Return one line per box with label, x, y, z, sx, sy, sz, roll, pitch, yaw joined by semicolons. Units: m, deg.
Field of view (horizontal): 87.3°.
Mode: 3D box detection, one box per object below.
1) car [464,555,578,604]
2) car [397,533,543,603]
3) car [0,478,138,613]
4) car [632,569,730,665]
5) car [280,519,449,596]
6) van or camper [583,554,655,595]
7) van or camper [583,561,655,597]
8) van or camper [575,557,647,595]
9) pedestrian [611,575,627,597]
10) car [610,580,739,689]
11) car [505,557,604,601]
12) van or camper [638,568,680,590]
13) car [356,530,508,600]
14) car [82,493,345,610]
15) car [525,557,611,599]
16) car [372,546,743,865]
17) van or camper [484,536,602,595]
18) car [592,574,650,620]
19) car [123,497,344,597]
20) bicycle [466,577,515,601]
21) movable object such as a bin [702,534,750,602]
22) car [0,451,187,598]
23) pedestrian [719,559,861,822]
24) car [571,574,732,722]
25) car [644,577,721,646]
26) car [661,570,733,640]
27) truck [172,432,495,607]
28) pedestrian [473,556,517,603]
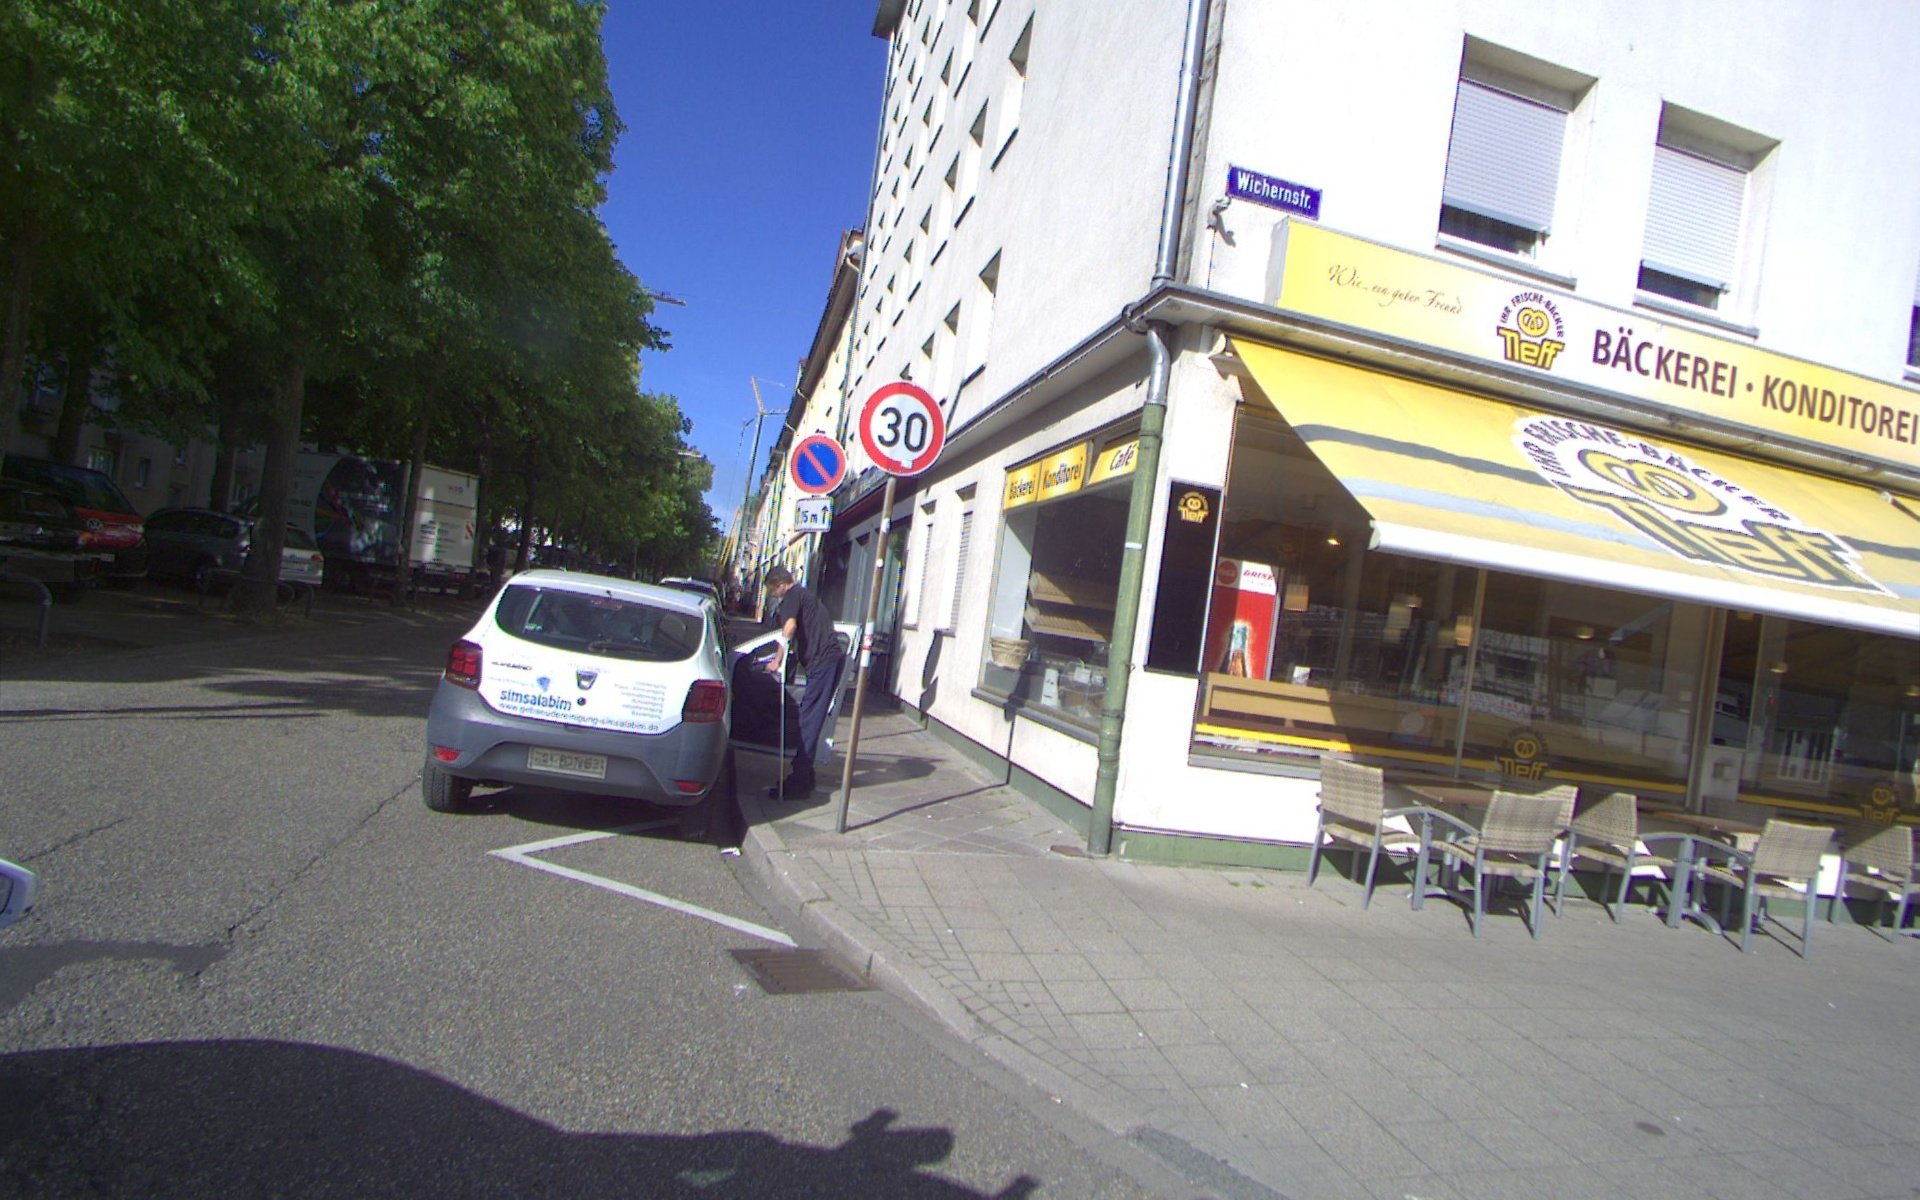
car;-19.357;-0.912;44.340;4.405;1.472;1.789;8;-1;18
car;-18.490;-1.187;38.068;4.438;1.886;2.083;9;-1;11
car;-12.820;-0.881;12.743;3.751;1.498;1.763;8;-1;15
car;-6.400;0.327;23.185;1.741;1.774;4.496;8;-1;-15
car;-16.948;-1.207;28.670;3.925;1.520;1.850;8;-1;18
van or camper;-35.909;-2.672;105.928;6.551;3.280;2.497;8;0;15
van or camper;-30.321;-1.855;89.494;5.411;2.303;2.222;8;0;10
van or camper;-32.390;-2.215;93.341;5.775;2.669;2.257;8;0;16
pedestrian;-23.596;-0.967;69.621;0.698;1.473;0.597;8;0;9
car;-5.153;0.513;17.963;1.782;1.480;4.424;8;-1;-18
car;-20.149;-1.045;50.017;4.341;1.478;1.718;8;-2;19
van or camper;-43.760;-3.029;146.459;5.250;2.504;2.295;7;0;19
car;-16.540;-1.091;31.547;4.031;1.524;1.735;8;-1;18
car;-14.034;-0.909;18.925;4.263;1.525;1.815;8;-1;20
car;-21.914;-1.226;56.255;4.068;1.699;1.761;8;-1;15
car;-2.552;0.576;7.352;1.697;1.515;4.014;8;-1;-12
van or camper;-28.223;-2.306;68.082;7.111;2.965;2.316;8;0;13
car;-13.502;-0.140;40.220;1.775;1.521;3.575;8;-1;-15
car;-16.191;-1.178;22.438;4.263;1.525;1.815;8;-1;20
bicycle;-15.666;-0.373;33.557;1.584;0.565;0.410;8;0;18
movable object such as a bin;-25.342;-3.457;109.001;3.425;6.838;2.370;8;-1;19
car;-14.956;-1.328;16.054;4.419;1.895;1.937;8;-1;20
pedestrian;-1.224;0.635;7.339;0.748;1.743;0.744;8;0;-8
car;-3.912;0.548;13.285;1.576;1.480;3.664;8;-1;-13
car;-7.646;0.282;27.929;1.740;1.517;4.227;8;-1;-14
car;-8.730;0.146;33.696;1.924;1.923;4.834;8;-1;-13
truck;-15.689;-2.014;25.228;7.188;3.333;2.548;8;0;18
pedestrian;-15.291;-0.669;33.091;0.739;1.413;0.929;8;0;18
